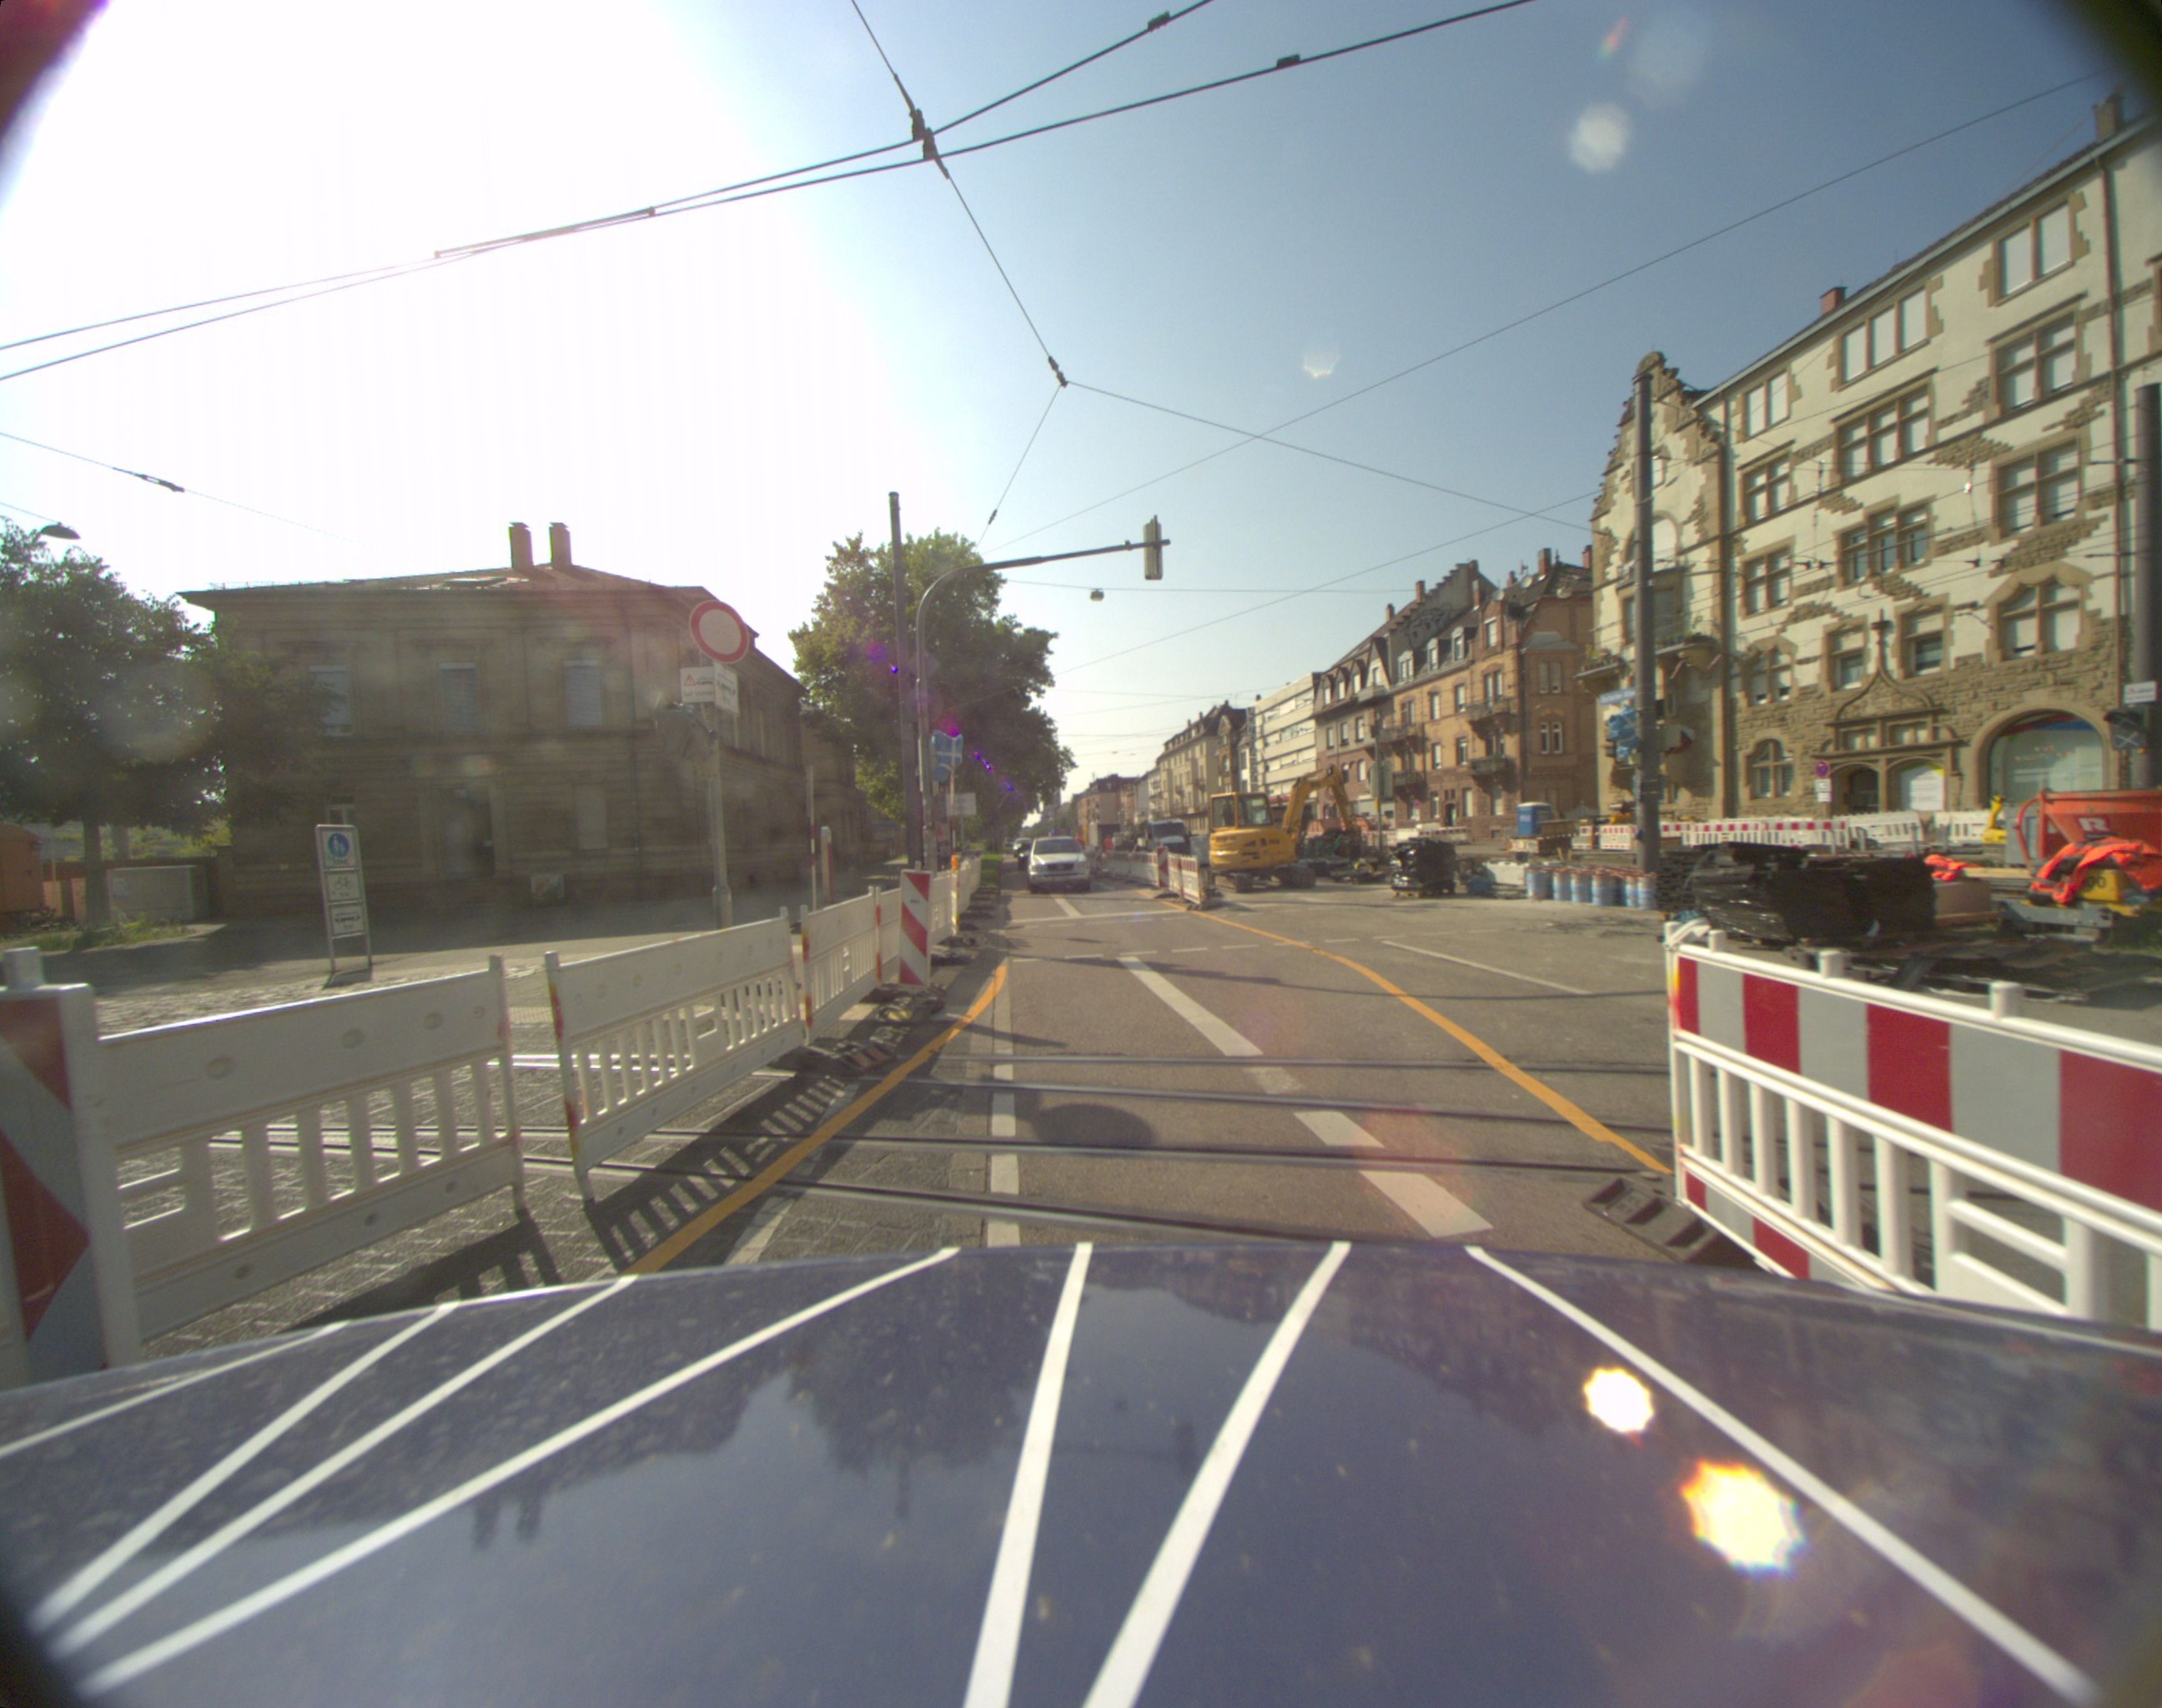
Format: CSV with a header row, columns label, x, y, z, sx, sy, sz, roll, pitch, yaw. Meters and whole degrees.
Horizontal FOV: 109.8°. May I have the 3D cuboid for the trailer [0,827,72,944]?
label,x,y,z,sx,sy,sz,roll,pitch,yaw
trailer,-30.264,0.892,19.718,4.001,3.052,2.553,-3,3,-14

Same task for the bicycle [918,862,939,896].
label,x,y,z,sx,sy,sz,roll,pitch,yaw
bicycle,-4.698,0.747,23.510,0.411,0.981,1.375,-2,1,-4

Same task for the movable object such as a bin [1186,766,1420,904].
label,x,y,z,sx,sy,sz,roll,pitch,yaw
movable object such as a bin,6.134,-0.599,20.796,6.170,3.327,2.112,-4,2,-25

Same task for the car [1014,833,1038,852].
label,x,y,z,sx,sy,sz,roll,pitch,yaw
car,-5.245,-1.048,71.904,2.000,1.686,5.222,-2,1,-7

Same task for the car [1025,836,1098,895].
label,x,y,z,sx,sy,sz,roll,pitch,yaw
car,-0.769,0.309,25.121,1.999,1.686,5.222,-2,1,-5

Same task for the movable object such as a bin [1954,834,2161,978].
label,x,y,z,sx,sy,sz,roll,pitch,yaw
movable object such as a bin,9.315,0.421,6.639,0.752,1.163,2.290,-2,1,1

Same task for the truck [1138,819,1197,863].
label,x,y,z,sx,sy,sz,roll,pitch,yaw
truck,4.729,-0.719,42.631,2.164,2.209,7.047,-2,1,-2

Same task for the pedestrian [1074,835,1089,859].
label,x,y,z,sx,sy,sz,roll,pitch,yaw
pedestrian,0.080,-0.633,66.599,0.910,2.003,0.913,-3,3,21

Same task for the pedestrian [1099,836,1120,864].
label,x,y,z,sx,sy,sz,roll,pitch,yaw
pedestrian,1.775,-0.238,47.526,1.035,1.701,1.095,-2,1,-7
